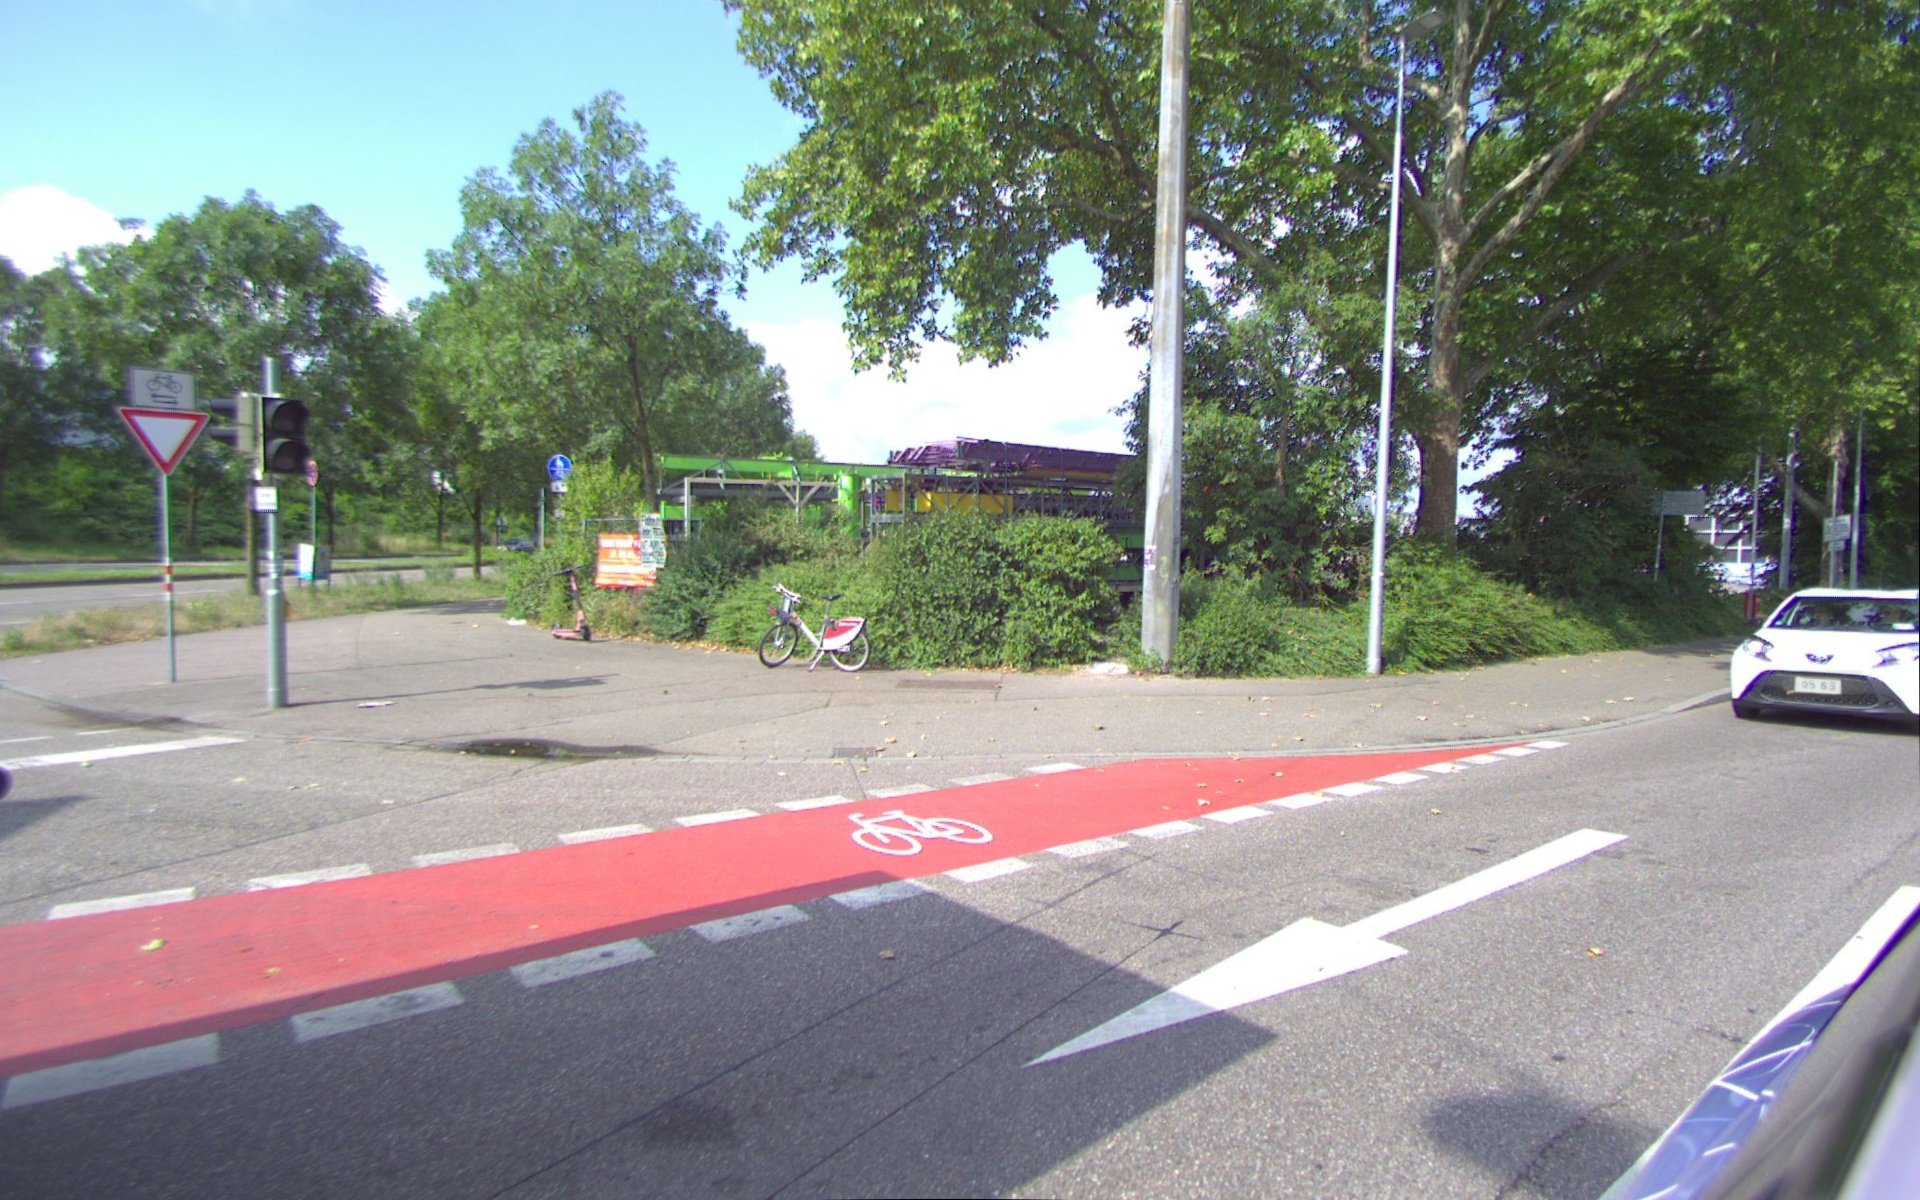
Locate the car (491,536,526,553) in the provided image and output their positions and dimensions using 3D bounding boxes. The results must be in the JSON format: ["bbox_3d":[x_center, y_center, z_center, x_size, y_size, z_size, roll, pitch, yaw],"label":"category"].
[{"bbox_3d":[-35.602,-4.358,79.796,1.513,1.062,3.373,1,-1,-6],"label":"car"}]

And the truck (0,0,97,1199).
[{"bbox_3d":[-4.070,-0.201,0.171,5.921,3.160,2.452,0,1,-40],"label":"truck"}]

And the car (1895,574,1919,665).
[{"bbox_3d":[19.187,0.308,18.892,4.498,1.595,1.891,-2,1,-39],"label":"car"}]

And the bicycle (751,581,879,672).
[{"bbox_3d":[-1.881,0.313,13.070,1.619,1.054,0.524,2,4,24],"label":"bicycle"}]

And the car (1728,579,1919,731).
[{"bbox_3d":[10.508,0.510,11.681,3.730,1.497,1.749,-1,1,-38],"label":"car"}]

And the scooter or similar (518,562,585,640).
[{"bbox_3d":[-6.429,-0.003,15.909,1.180,1.162,0.394,2,5,37],"label":"scooter or similar"}]
